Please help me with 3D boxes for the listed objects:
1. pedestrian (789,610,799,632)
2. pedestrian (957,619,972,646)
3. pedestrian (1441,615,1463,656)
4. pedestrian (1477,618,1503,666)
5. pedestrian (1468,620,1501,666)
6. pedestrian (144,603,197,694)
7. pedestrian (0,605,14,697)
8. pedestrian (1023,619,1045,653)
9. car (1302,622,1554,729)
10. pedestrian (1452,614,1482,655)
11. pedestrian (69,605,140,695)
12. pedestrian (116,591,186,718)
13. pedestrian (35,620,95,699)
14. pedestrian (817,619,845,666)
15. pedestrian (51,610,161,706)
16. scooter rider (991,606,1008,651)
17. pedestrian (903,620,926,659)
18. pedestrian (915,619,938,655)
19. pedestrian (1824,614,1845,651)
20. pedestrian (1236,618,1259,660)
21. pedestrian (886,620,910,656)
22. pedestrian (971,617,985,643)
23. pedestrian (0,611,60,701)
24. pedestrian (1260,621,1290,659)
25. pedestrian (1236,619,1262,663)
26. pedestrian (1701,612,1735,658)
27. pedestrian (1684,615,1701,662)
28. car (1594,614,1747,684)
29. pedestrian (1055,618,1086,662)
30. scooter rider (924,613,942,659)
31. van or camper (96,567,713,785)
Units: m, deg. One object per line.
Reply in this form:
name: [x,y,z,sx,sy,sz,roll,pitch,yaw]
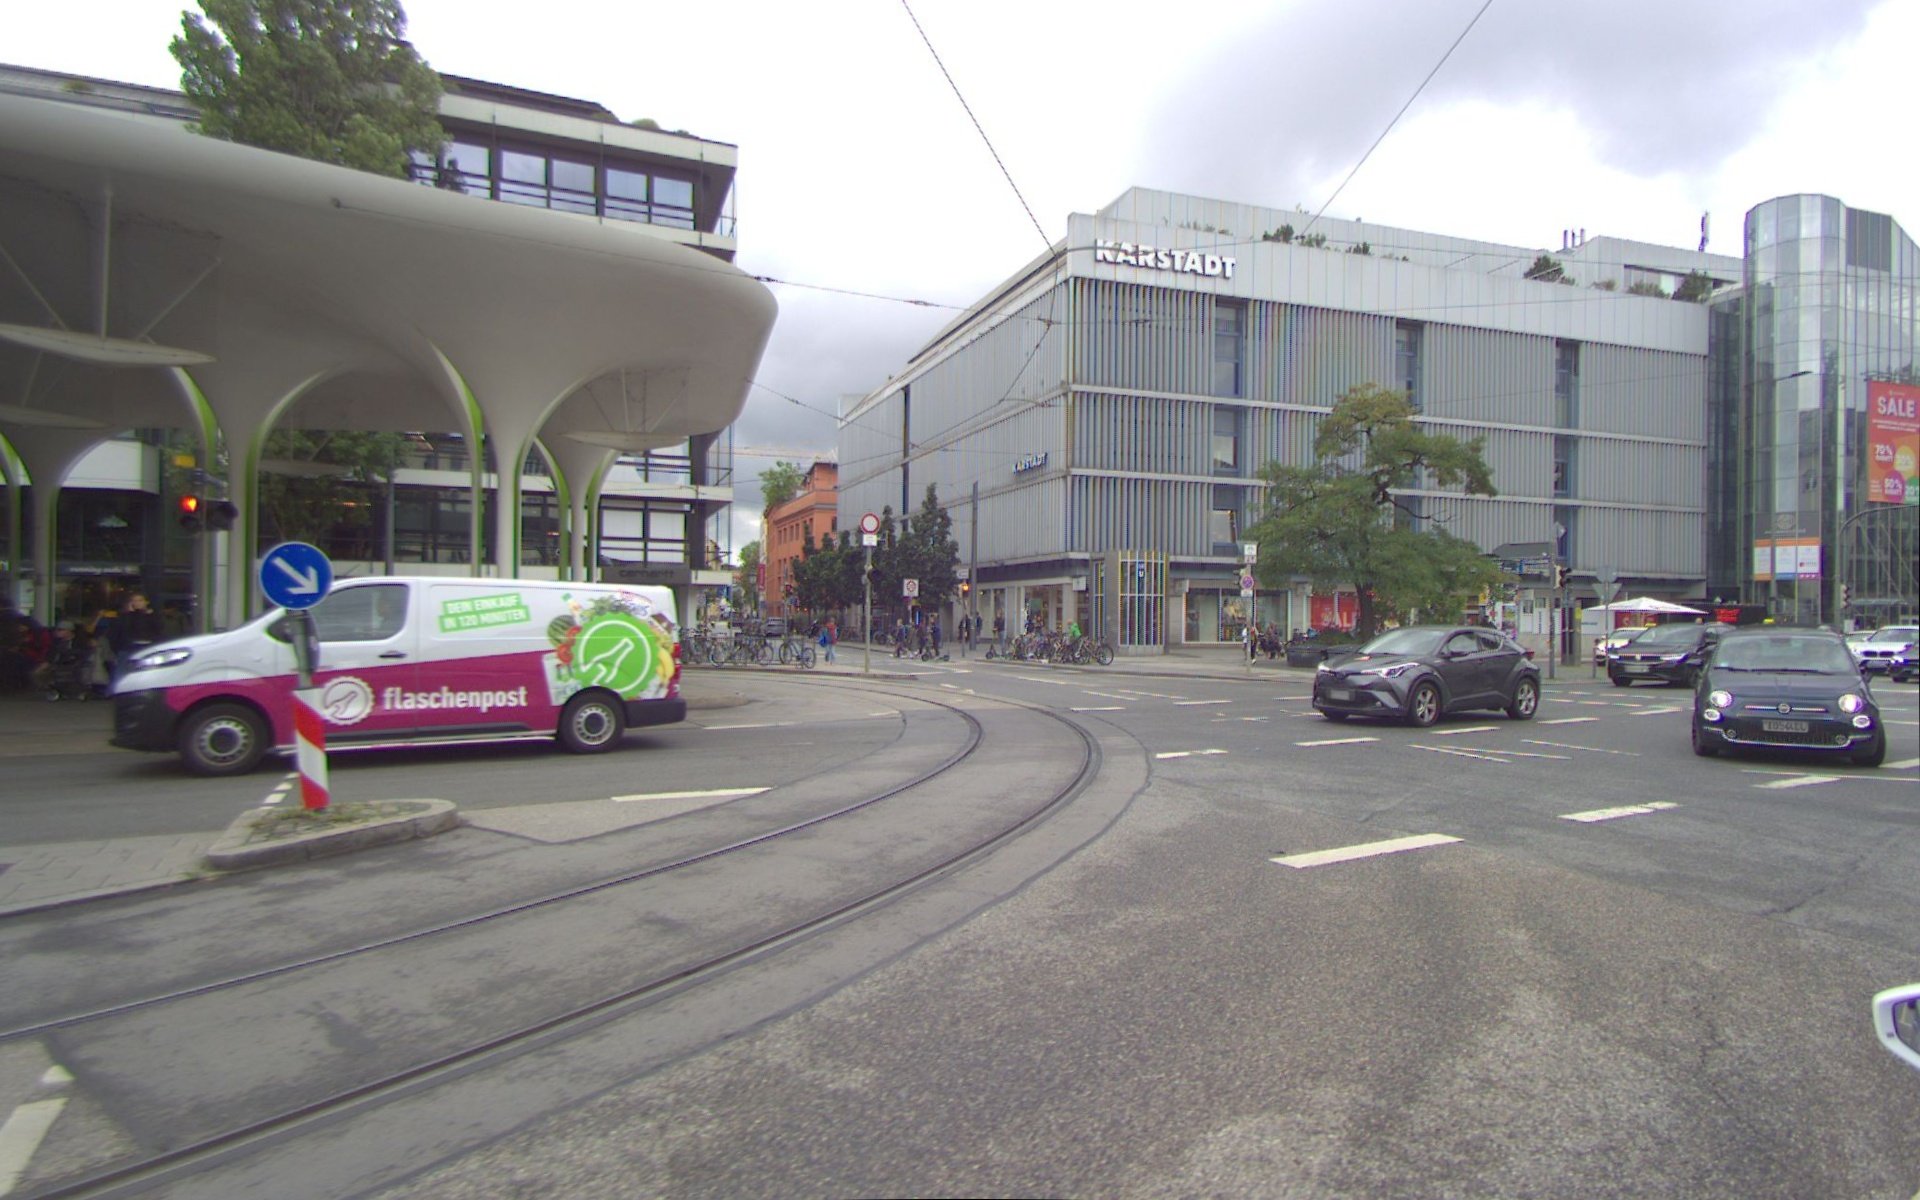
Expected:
pedestrian: [-15.040,1.896,90.856,0.728,2.040,0.870,1,-1,-23]
pedestrian: [0.259,1.883,58.830,0.646,1.573,0.678,1,-1,-21]
pedestrian: [18.784,1.343,38.361,0.737,1.513,0.772,0,-1,25]
pedestrian: [20.016,1.582,37.925,0.739,1.797,0.770,0,-1,37]
pedestrian: [19.329,1.577,37.026,0.740,1.676,0.769,0,-1,-19]
pedestrian: [-14.467,0.880,18.414,0.616,1.632,0.594,1,-1,-26]
pedestrian: [-16.925,0.879,17.352,0.488,1.604,0.666,0,-1,12]
pedestrian: [3.721,1.802,50.480,0.774,1.710,0.784,1,-1,-25]
car: [7.589,1.138,16.193,4.234,1.528,1.655,1,-2,-32]
pedestrian: [19.627,1.332,38.928,0.737,1.575,0.772,0,-1,-7]
pedestrian: [-15.115,0.866,17.765,0.787,1.550,0.730,1,-1,-28]
pedestrian: [-11.457,0.760,14.237,0.606,1.743,0.545,1,-1,-23]
pedestrian: [-14.547,0.960,16.341,0.605,1.252,0.535,1,-1,-30]
pedestrian: [-4.683,1.527,36.322,0.779,1.664,0.853,1,-1,-25]
pedestrian: [-13.546,0.898,15.962,0.837,1.472,1.026,0,-1,14]
scooter rider: [1.613,1.172,41.409,0.654,1.859,0.620,0,-1,-1]
pedestrian: [-2.013,1.736,44.276,0.844,1.664,0.786,0,-1,-18]
pedestrian: [-1.570,1.712,46.957,0.839,1.676,0.799,1,-1,-18]
pedestrian: [44.317,1.647,50.901,0.618,1.842,0.557,1,-1,-19]
pedestrian: [11.890,1.605,41.497,0.774,1.710,0.862,0,-1,25]
pedestrian: [-2.796,1.699,45.211,0.934,1.609,0.739,1,-1,-19]
pedestrian: [1.063,1.764,59.201,0.646,1.573,0.678,1,-1,-21]
pedestrian: [-15.824,0.919,16.887,0.539,1.477,0.875,0,-1,12]
pedestrian: [13.493,1.698,43.020,0.962,1.602,0.796,1,-1,-19]
pedestrian: [10.705,1.515,37.216,0.709,1.595,0.638,1,-1,-16]
pedestrian: [28.524,1.293,37.817,0.741,1.713,0.768,1,-1,-25]
pedestrian: [28.160,1.471,38.621,0.348,1.783,0.447,0,-1,6]
car: [18.413,1.229,26.016,3.953,1.684,1.774,1,-1,-30]
pedestrian: [4.143,1.483,37.724,0.804,1.640,0.830,1,-1,-45]
scooter rider: [-1.101,1.459,40.888,0.601,1.863,0.553,1,-1,-22]
van or camper: [-5.589,0.716,10.826,5.382,1.850,1.917,1,-2,-33]
